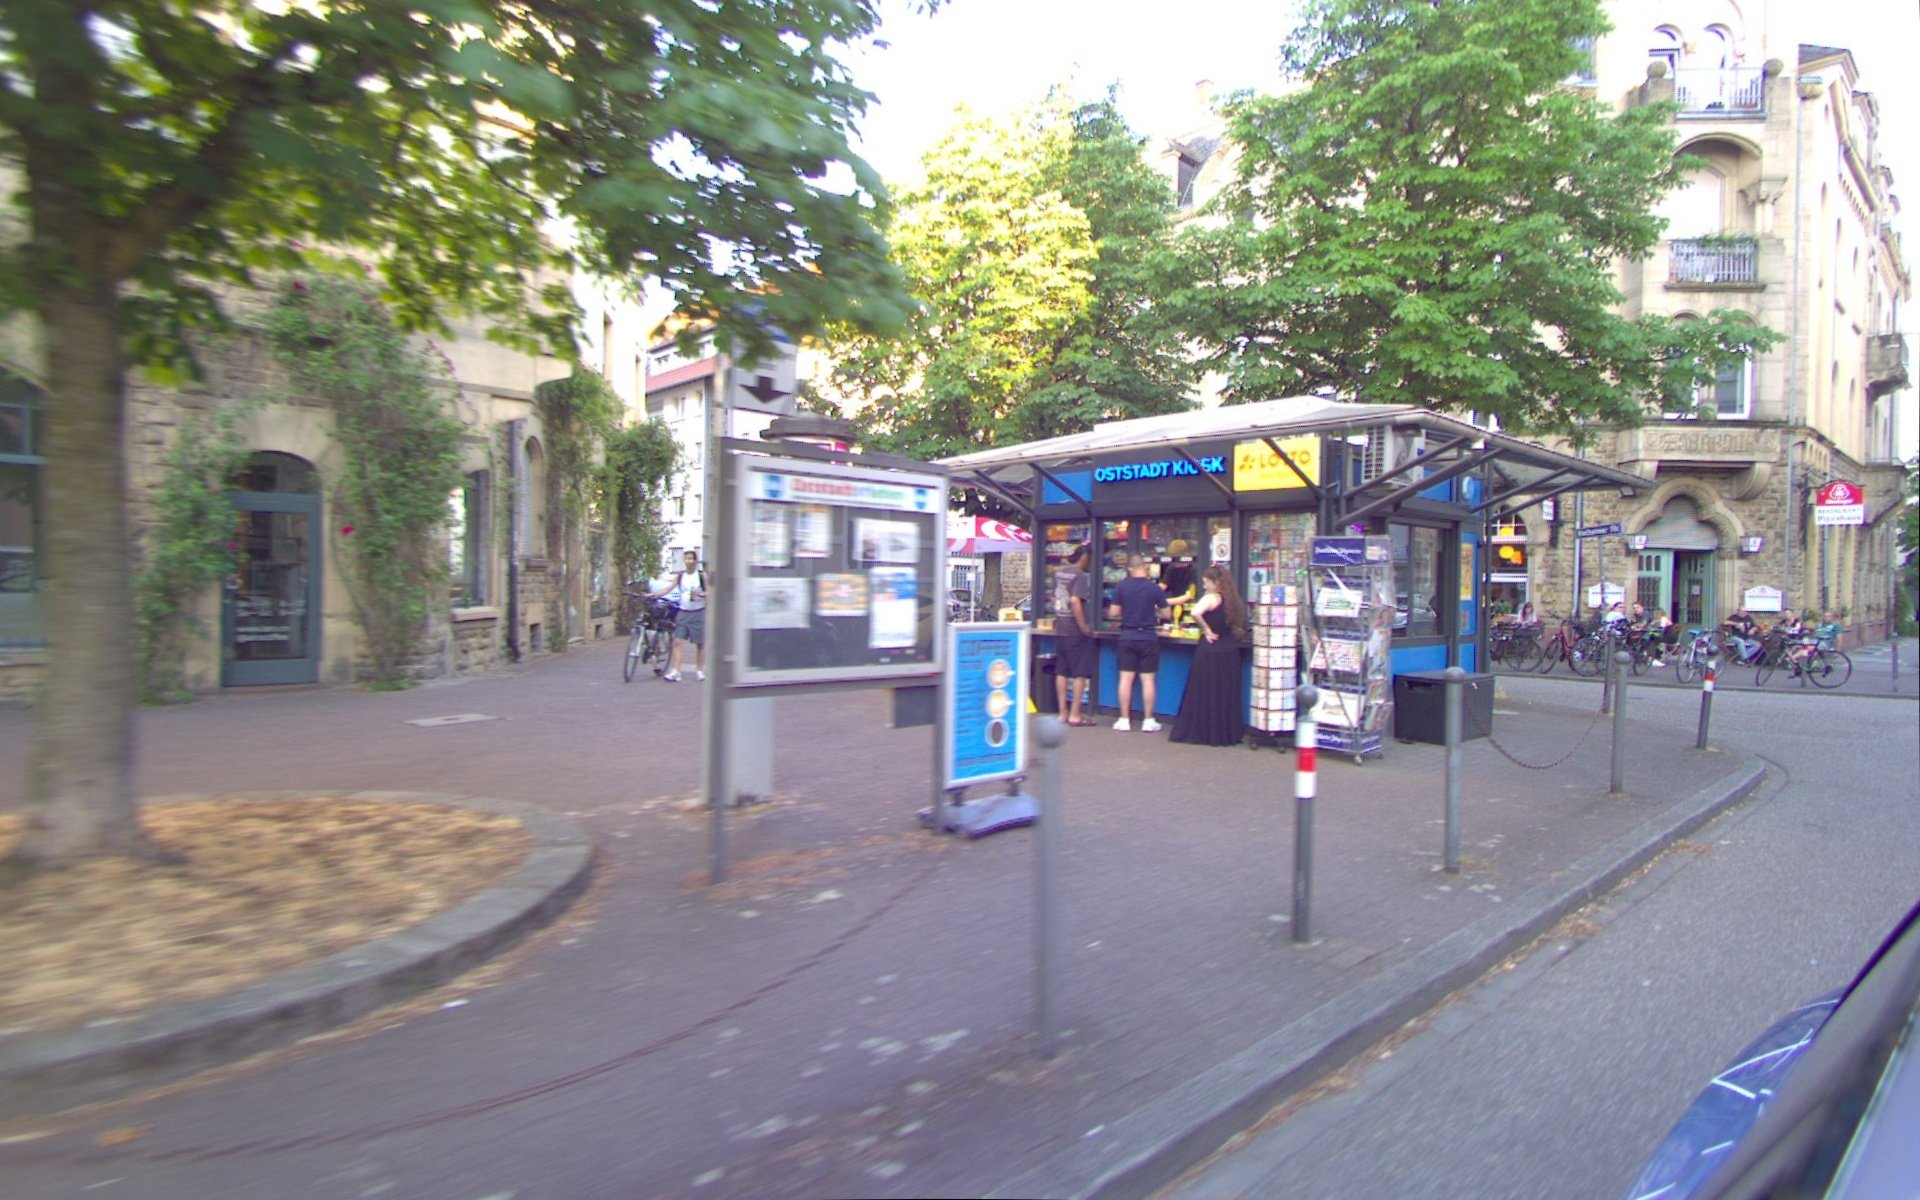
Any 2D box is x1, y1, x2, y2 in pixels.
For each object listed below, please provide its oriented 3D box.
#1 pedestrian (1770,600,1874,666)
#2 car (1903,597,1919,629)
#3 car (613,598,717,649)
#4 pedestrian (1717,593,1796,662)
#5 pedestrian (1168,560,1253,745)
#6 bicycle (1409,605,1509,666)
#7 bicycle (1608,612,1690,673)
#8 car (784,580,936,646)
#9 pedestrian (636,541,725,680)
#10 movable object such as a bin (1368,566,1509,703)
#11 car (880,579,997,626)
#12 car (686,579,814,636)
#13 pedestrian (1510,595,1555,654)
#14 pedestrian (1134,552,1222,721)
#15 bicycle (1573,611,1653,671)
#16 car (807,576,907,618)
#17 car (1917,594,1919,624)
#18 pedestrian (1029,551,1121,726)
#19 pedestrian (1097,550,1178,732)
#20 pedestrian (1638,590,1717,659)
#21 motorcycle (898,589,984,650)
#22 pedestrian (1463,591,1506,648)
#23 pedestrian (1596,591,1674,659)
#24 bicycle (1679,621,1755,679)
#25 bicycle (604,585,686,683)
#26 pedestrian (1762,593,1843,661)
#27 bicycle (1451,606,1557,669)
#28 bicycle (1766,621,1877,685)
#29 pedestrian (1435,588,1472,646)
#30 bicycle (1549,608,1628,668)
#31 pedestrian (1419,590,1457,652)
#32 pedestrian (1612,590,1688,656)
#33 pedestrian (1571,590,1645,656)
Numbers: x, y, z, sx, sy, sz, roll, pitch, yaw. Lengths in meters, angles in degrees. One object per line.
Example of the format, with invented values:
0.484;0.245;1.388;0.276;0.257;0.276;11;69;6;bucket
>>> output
18.264;0.681;21.478;1.394;1.301;0.840;2;2;5;pedestrian
46.785;0.671;46.980;1.792;1.470;4.296;0;1;-42;car
-9.521;0.707;32.507;1.794;1.502;3.901;0;0;-40;car
17.443;0.578;22.178;0.881;1.414;1.010;3;1;5;pedestrian
2.210;0.434;8.915;0.669;1.558;0.587;1;1;18;pedestrian
10.521;0.729;21.360;1.822;1.176;0.532;2;1;35;bicycle
13.009;0.782;19.092;1.797;1.080;0.514;0;1;-29;bicycle
-2.531;0.288;24.956;1.795;1.502;3.899;0;0;-42;car
-3.775;0.124;13.750;0.961;1.811;1.007;1;2;-3;pedestrian
5.688;0.374;12.076;0.751;1.493;1.227;1;3;-33;movable object such as a bin
-0.782;0.076;34.010;1.796;1.502;3.897;0;0;-44;car
-6.029;0.193;28.744;1.795;1.502;3.996;0;0;-42;car
13.097;0.548;23.164;0.704;1.298;0.864;1;1;43;pedestrian
2.233;0.344;10.365;0.675;1.657;0.582;2;1;40;pedestrian
12.506;0.763;19.368;1.797;1.083;0.477;0;1;-29;bicycle
-3.881;-0.112;37.677;1.794;1.502;3.901;0;0;-41;car
51.327;0.519;51.044;1.792;1.548;4.296;0;1;-42;car
1.135;0.354;10.048;0.581;1.657;0.677;0;1;-43;pedestrian
1.693;0.367;9.633;0.669;1.657;0.587;1;1;18;pedestrian
15.432;0.515;21.791;1.082;1.413;0.842;0;2;-2;pedestrian
-0.381;0.350;19.164;0.569;1.067;1.830;0;2;-41;motorcycle
12.499;0.453;24.110;0.729;1.337;0.656;1;1;45;pedestrian
14.502;0.519;21.773;1.083;1.413;0.842;0;2;-1;pedestrian
13.633;0.880;18.226;1.671;0.992;0.448;0;1;-29;bicycle
-4.271;0.417;13.857;0.623;1.202;1.916;1;2;-4;bicycle
18.555;0.582;22.302;1.081;1.413;0.843;2;2;-15;pedestrian
10.933;0.729;20.361;1.822;1.166;0.551;2;1;35;bicycle
14.974;0.916;17.615;1.450;1.052;0.431;1;1;7;bicycle
12.022;0.411;24.658;0.591;1.375;0.726;1;1;44;pedestrian
12.358;0.724;19.894;1.797;1.126;0.504;0;1;-29;bicycle
11.221;0.476;23.756;0.709;1.422;0.785;1;1;32;pedestrian
15.319;0.488;22.495;1.082;1.413;0.842;0;2;-2;pedestrian
14.379;0.495;22.480;1.083;1.413;0.842;0;2;-1;pedestrian
